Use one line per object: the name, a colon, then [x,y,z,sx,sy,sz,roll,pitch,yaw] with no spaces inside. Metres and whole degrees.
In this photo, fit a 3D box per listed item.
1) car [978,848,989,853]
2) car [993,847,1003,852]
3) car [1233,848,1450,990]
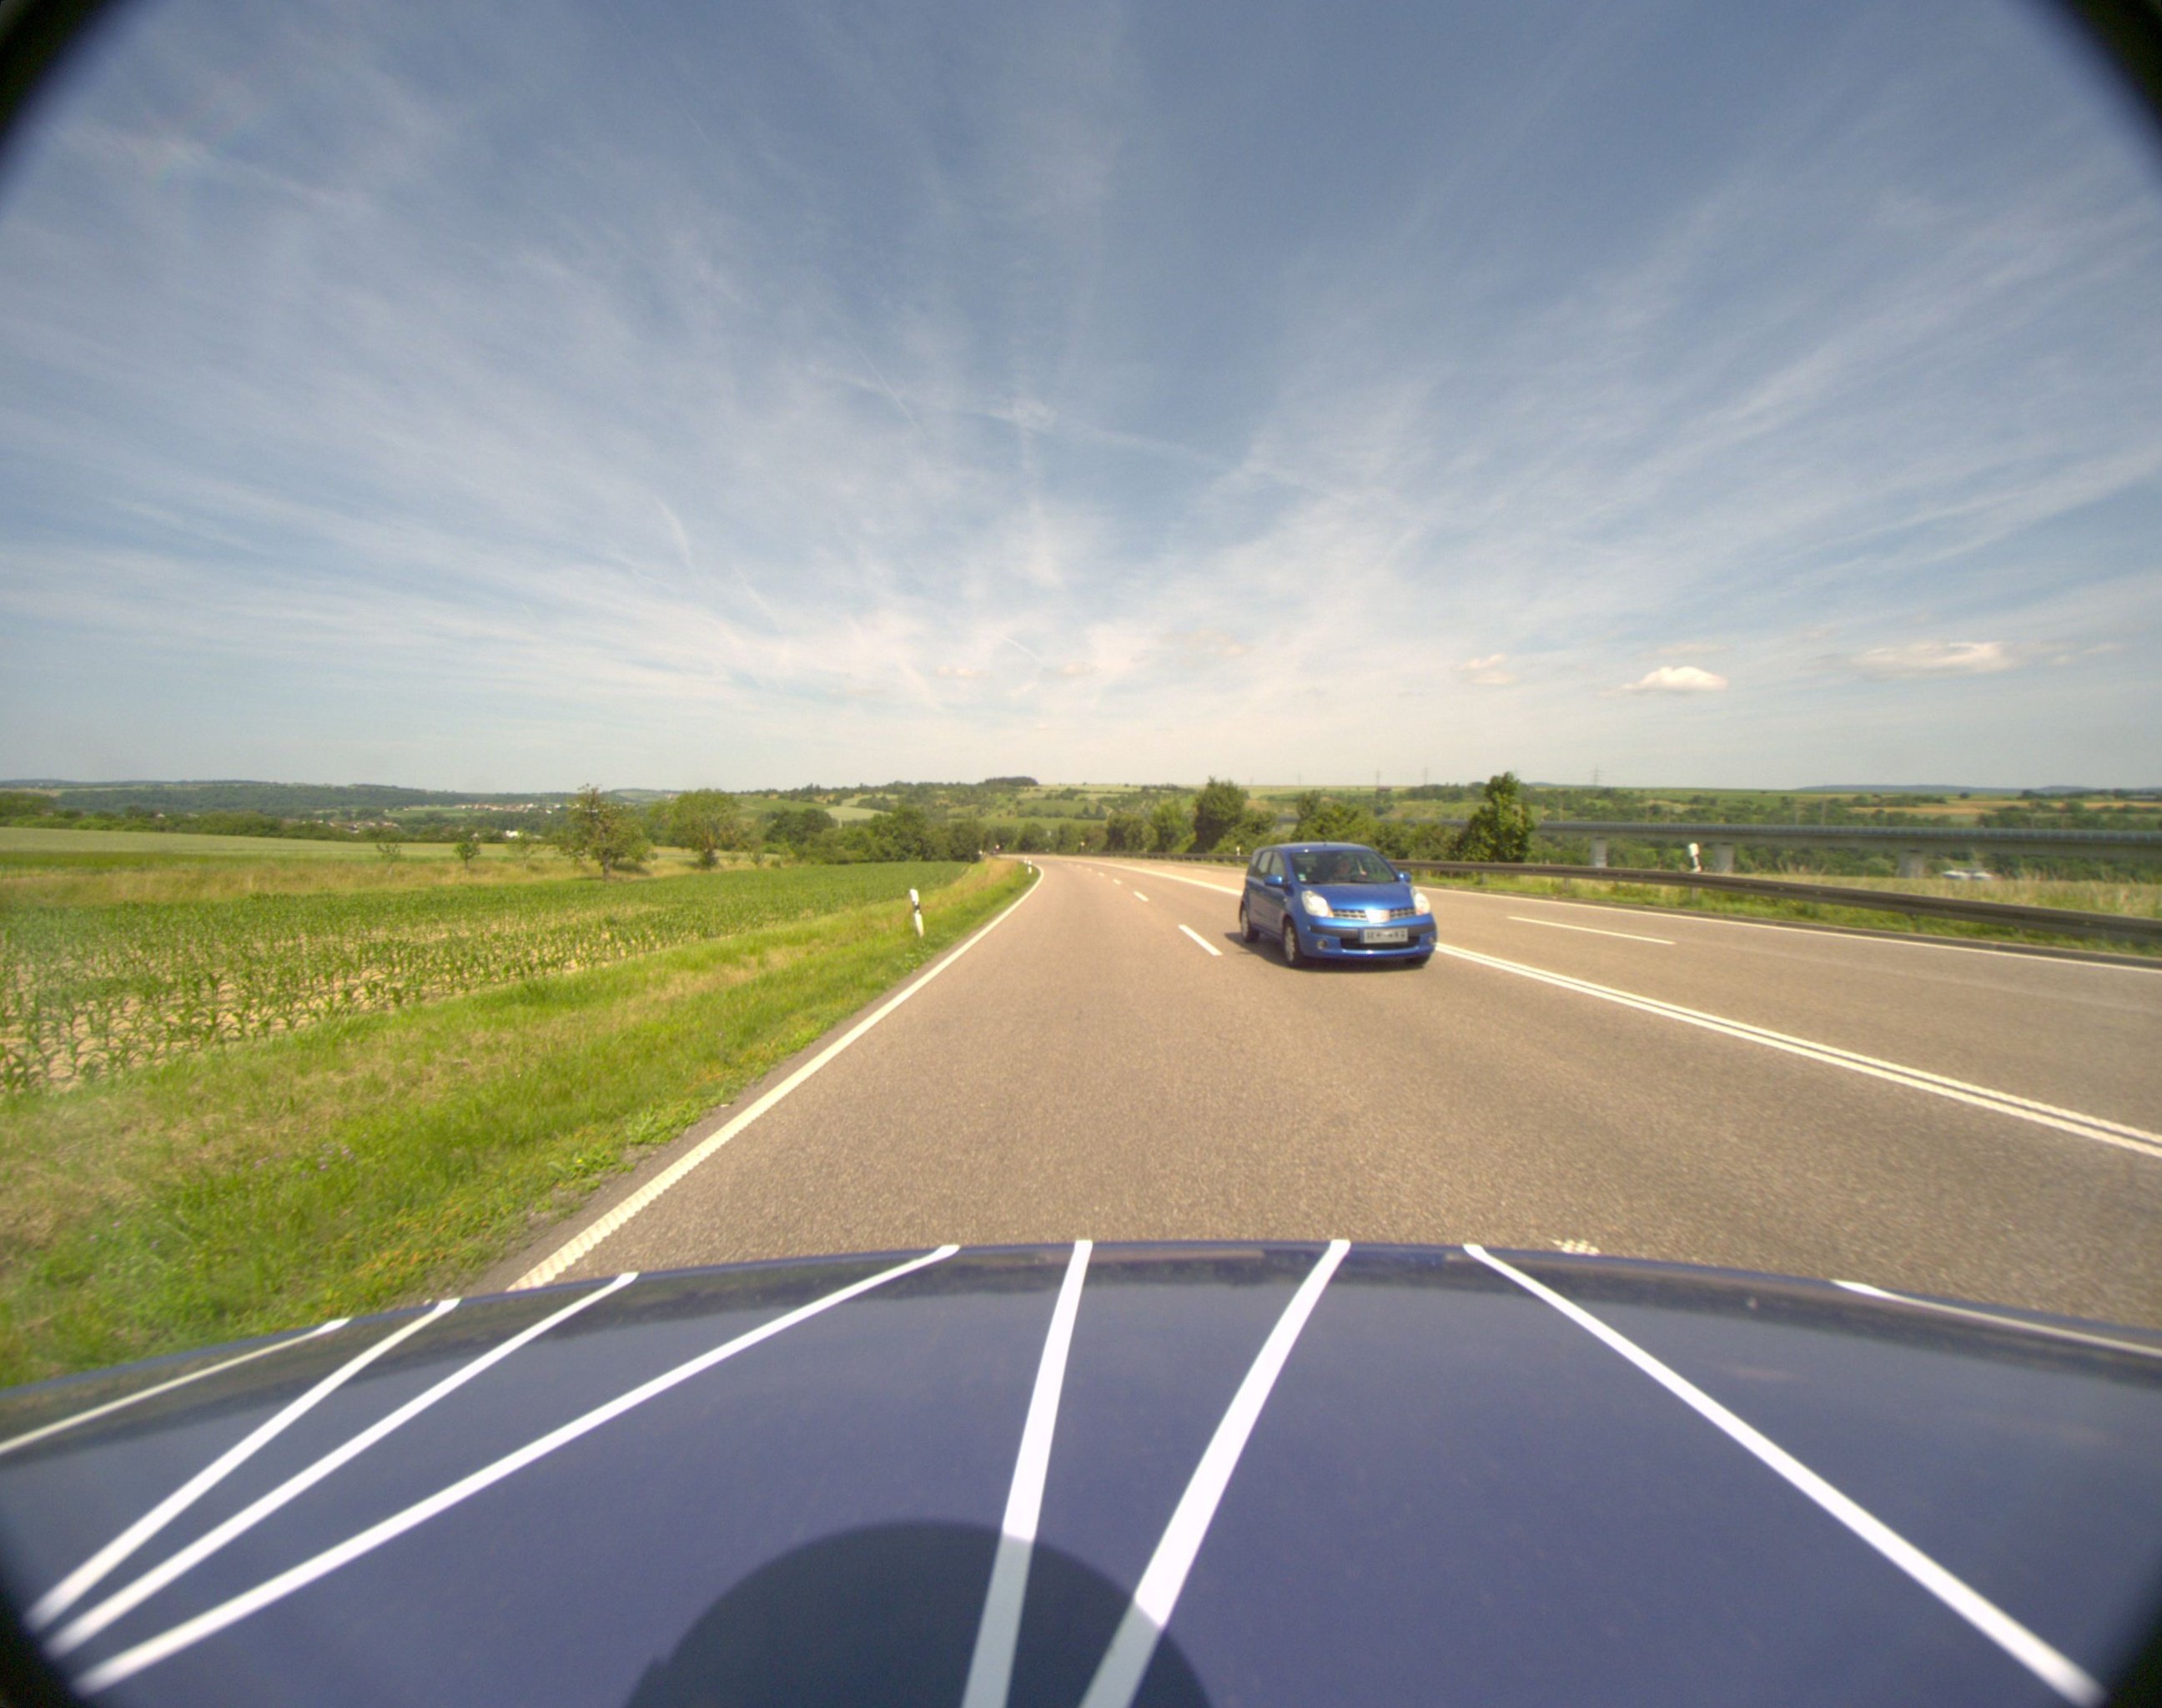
car: [-29.553,-1.026,230.476,1.665,1.449,3.725,-2,1,-32]
car: [-23.454,-1.336,215.247,1.844,1.447,4.317,-1,1,-21]
car: [3.300,0.713,10.437,1.636,1.522,3.914,-2,1,1]
